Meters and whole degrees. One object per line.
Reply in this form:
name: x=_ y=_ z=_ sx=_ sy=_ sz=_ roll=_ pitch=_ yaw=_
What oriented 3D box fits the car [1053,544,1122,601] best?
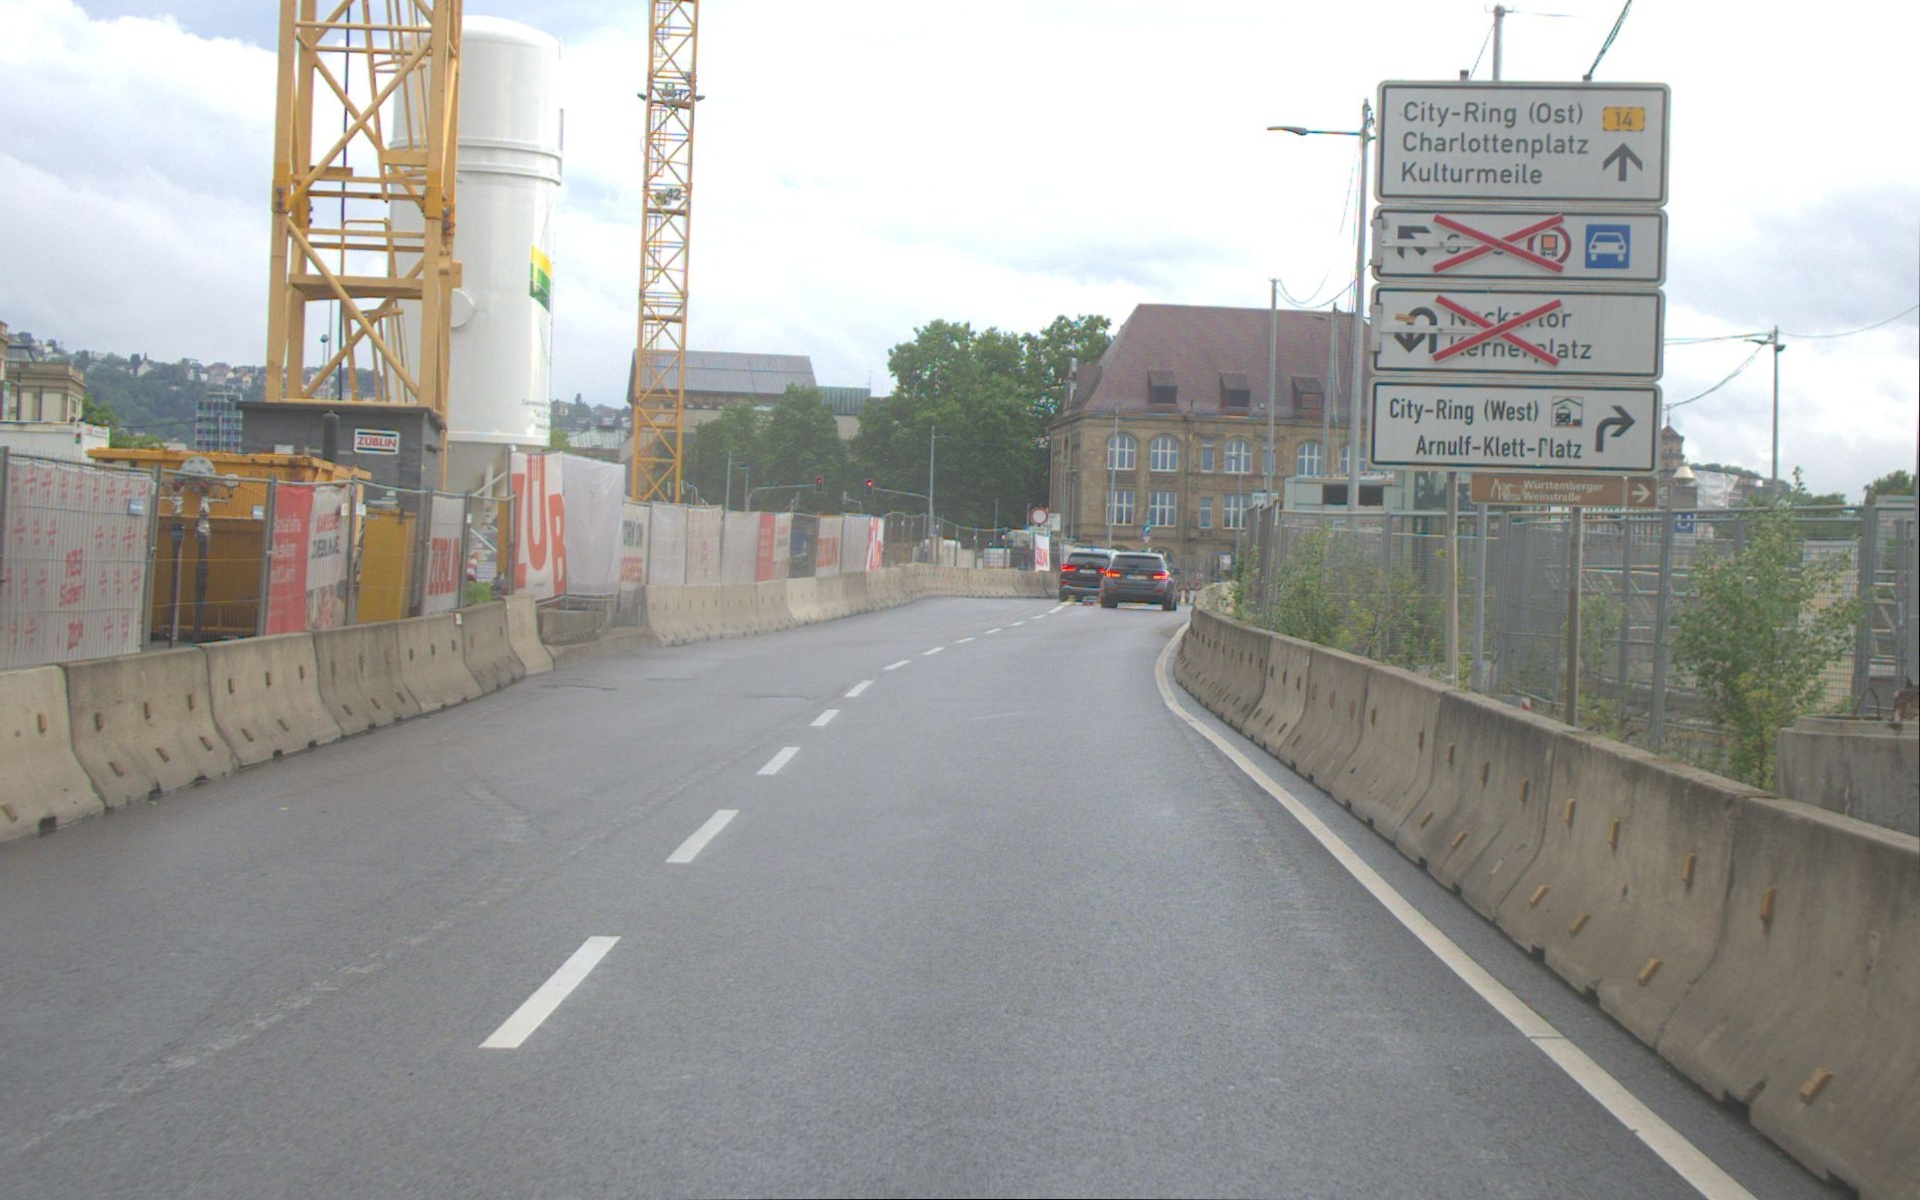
car: x=3.969 y=-0.841 z=106.300 sx=1.863 sy=1.655 sz=4.655 roll=3 pitch=1 yaw=5

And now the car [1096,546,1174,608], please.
car: x=4.462 y=-0.566 z=87.298 sx=1.863 sy=1.428 sz=4.655 roll=3 pitch=0 yaw=3
